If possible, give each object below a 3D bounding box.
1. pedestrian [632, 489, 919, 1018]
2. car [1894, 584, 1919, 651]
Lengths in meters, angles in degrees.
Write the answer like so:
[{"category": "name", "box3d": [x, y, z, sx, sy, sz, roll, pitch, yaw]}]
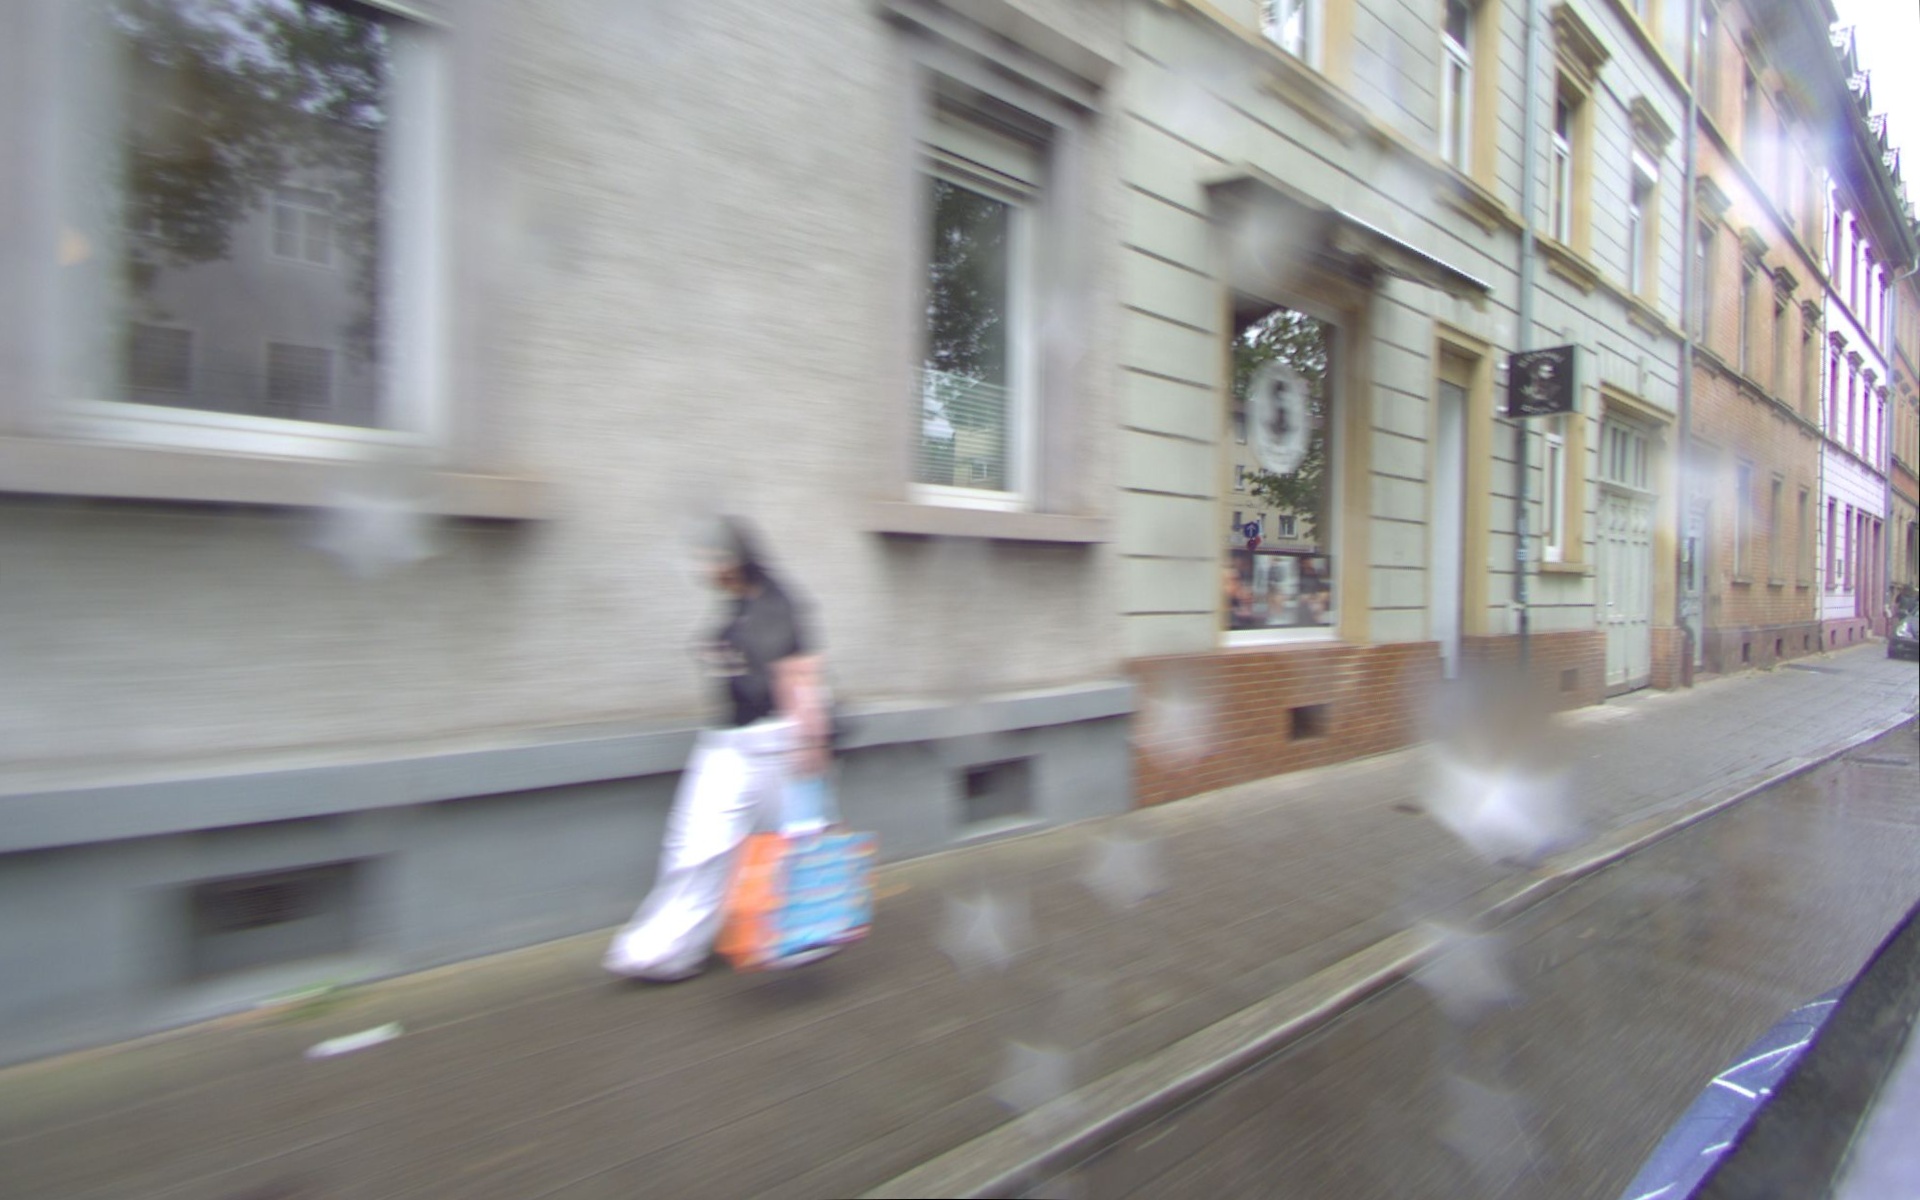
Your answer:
[{"category": "pedestrian", "box3d": [-0.673, 0.438, 3.541, 0.566, 1.592, 0.849, 0, 5, -41]}, {"category": "car", "box3d": [22.399, 0.445, 22.359, 4.087, 1.383, 1.977, 0, 6, -40]}]
